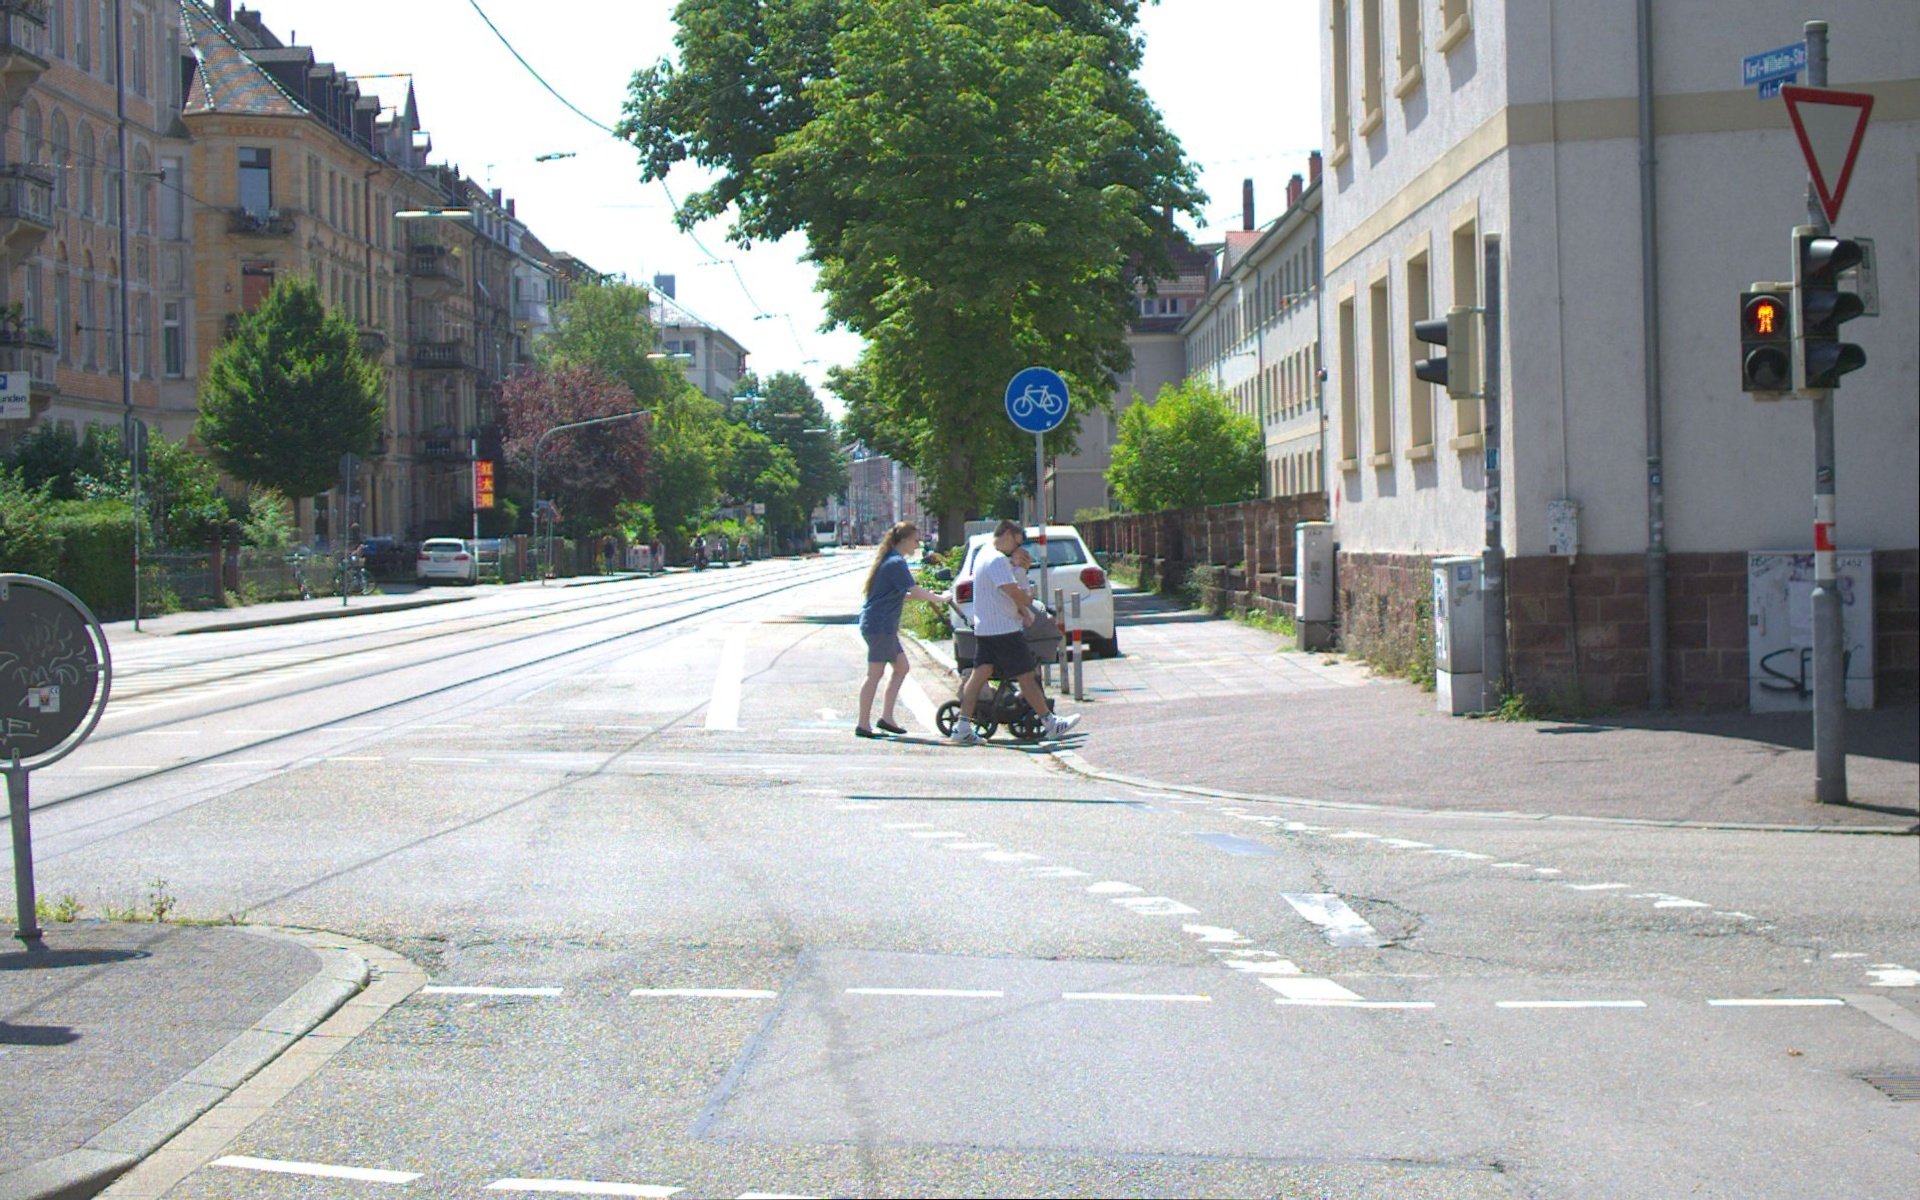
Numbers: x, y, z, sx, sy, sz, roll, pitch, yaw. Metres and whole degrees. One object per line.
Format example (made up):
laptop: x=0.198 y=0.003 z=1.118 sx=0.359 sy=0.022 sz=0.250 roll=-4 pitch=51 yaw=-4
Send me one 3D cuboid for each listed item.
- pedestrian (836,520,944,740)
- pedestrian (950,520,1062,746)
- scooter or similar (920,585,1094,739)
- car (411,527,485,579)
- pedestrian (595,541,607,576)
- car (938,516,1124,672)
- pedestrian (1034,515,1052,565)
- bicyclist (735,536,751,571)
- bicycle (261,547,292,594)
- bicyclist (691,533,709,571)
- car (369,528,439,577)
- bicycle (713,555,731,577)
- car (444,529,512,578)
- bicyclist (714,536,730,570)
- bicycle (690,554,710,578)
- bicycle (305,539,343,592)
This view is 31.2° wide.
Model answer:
pedestrian: x=-0.532 y=0.222 z=25.882 sx=0.674 sy=1.640 sz=0.559 roll=1 pitch=0 yaw=-15
pedestrian: x=0.337 y=0.240 z=25.357 sx=0.674 sy=1.640 sz=0.559 roll=1 pitch=0 yaw=-15
scooter or similar: x=0.357 y=0.470 z=26.133 sx=1.201 sy=1.151 sz=0.559 roll=1 pitch=0 yaw=-15
car: x=-17.190 y=-1.579 z=115.576 sx=1.919 sy=1.709 sz=4.000 roll=1 pitch=1 yaw=-1
pedestrian: x=-15.197 y=-1.770 z=145.525 sx=0.406 sy=1.456 sz=0.436 roll=-1 pitch=1 yaw=-1
car: x=0.718 y=-0.084 z=37.335 sx=1.815 sy=1.511 sz=4.000 roll=-3 pitch=1 yaw=-1
pedestrian: x=2.646 y=-1.913 z=109.545 sx=0.521 sy=1.557 sz=0.573 roll=-1 pitch=1 yaw=-1
bicyclist: x=-11.388 y=-2.442 z=180.843 sx=0.727 sy=1.812 sz=1.079 roll=1 pitch=0 yaw=1
bicycle: x=-15.906 y=-0.700 z=80.037 sx=0.677 sy=1.061 sz=1.919 roll=-1 pitch=1 yaw=-11
bicyclist: x=-12.144 y=-2.238 z=160.793 sx=0.727 sy=1.762 sz=1.079 roll=1 pitch=0 yaw=1
car: x=-20.020 y=-1.702 z=123.914 sx=1.919 sy=1.709 sz=4.000 roll=1 pitch=1 yaw=-1
bicycle: x=-12.542 y=-1.784 z=181.088 sx=0.727 sy=1.119 sz=2.085 roll=1 pitch=1 yaw=1
car: x=-17.334 y=-1.664 z=123.840 sx=1.919 sy=1.709 sz=4.000 roll=1 pitch=1 yaw=-1
bicyclist: x=-12.517 y=-2.477 z=181.066 sx=0.727 sy=1.812 sz=1.079 roll=1 pitch=0 yaw=1
bicycle: x=-12.150 y=-1.576 z=160.794 sx=0.727 sy=1.119 sz=2.085 roll=1 pitch=1 yaw=1
bicycle: x=-15.663 y=-0.851 z=84.679 sx=0.677 sy=1.274 sz=1.919 roll=-1 pitch=1 yaw=-3
